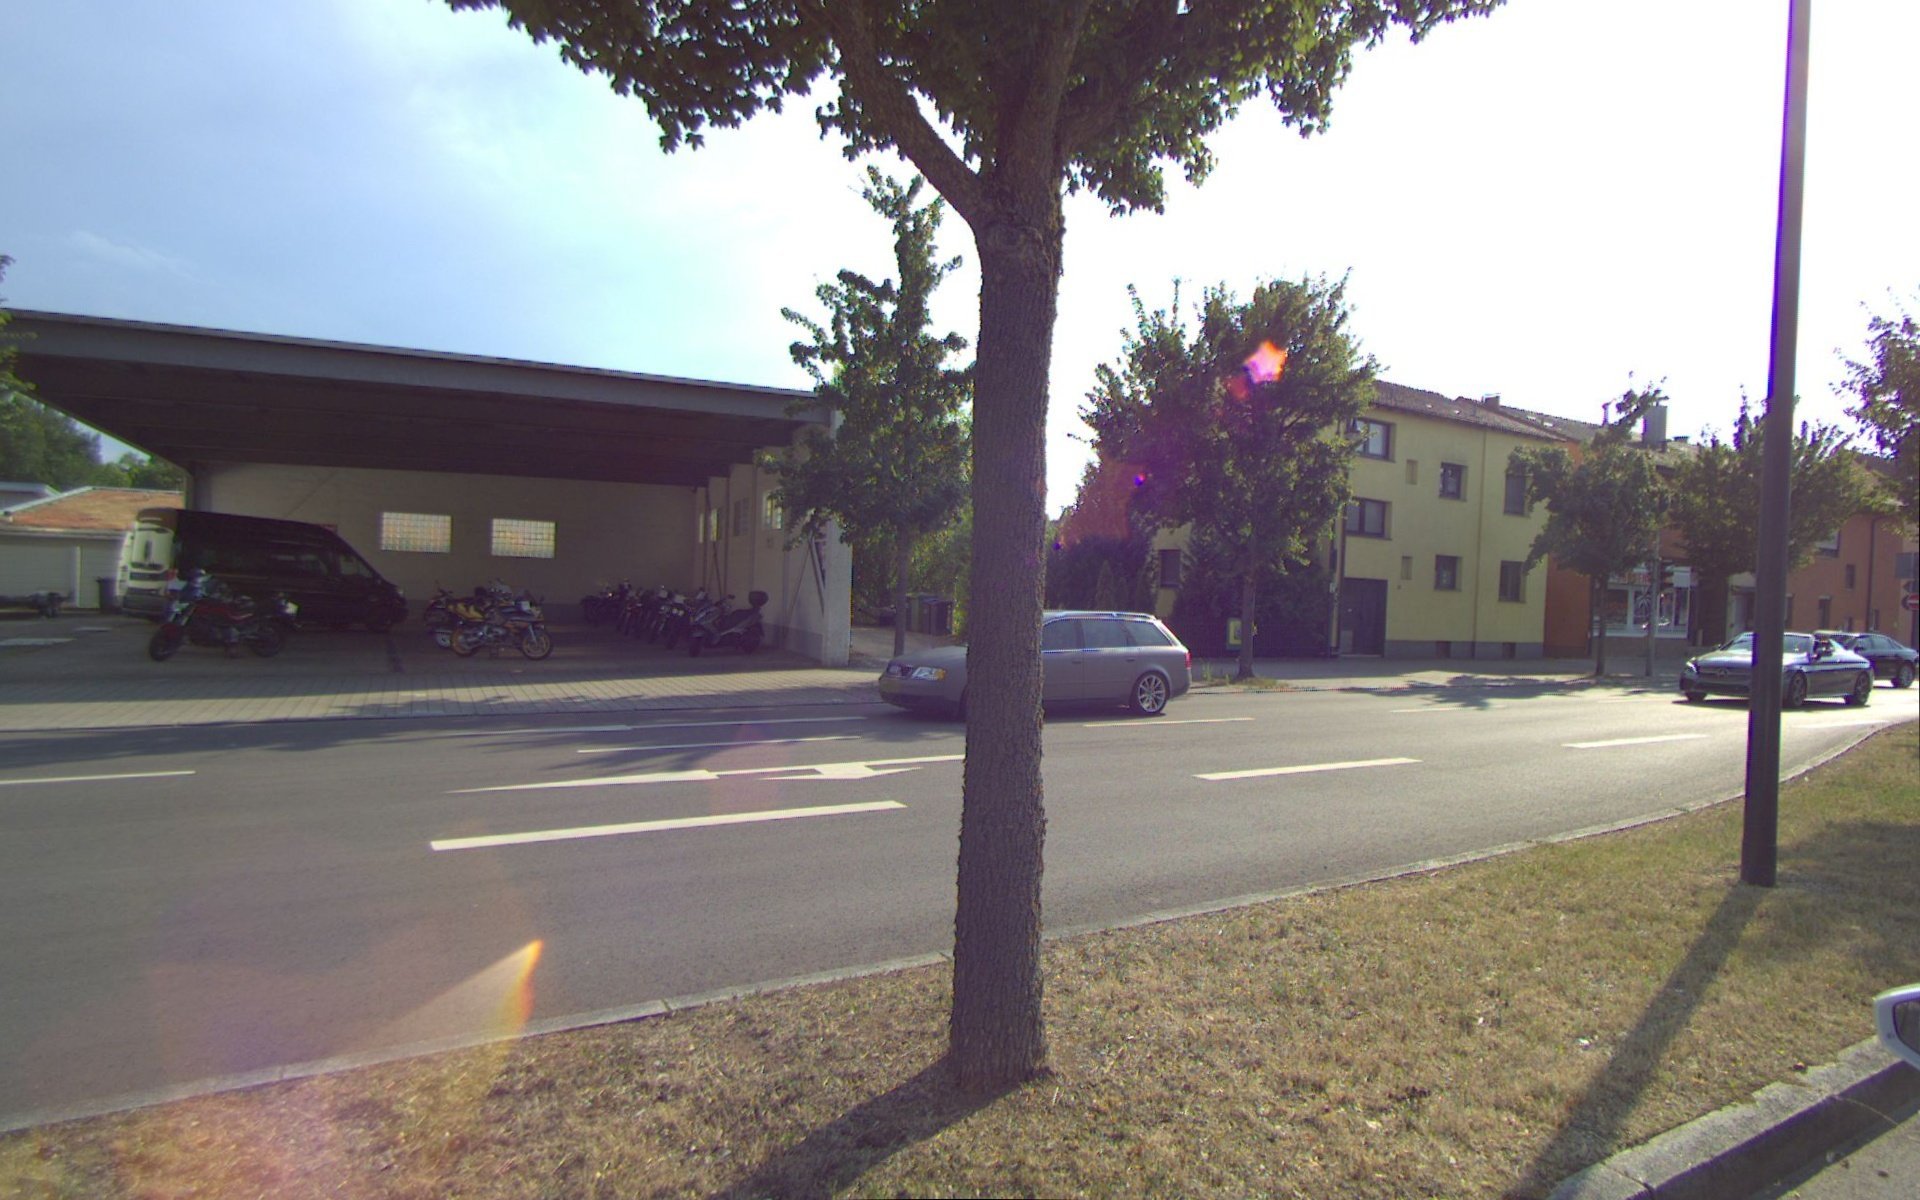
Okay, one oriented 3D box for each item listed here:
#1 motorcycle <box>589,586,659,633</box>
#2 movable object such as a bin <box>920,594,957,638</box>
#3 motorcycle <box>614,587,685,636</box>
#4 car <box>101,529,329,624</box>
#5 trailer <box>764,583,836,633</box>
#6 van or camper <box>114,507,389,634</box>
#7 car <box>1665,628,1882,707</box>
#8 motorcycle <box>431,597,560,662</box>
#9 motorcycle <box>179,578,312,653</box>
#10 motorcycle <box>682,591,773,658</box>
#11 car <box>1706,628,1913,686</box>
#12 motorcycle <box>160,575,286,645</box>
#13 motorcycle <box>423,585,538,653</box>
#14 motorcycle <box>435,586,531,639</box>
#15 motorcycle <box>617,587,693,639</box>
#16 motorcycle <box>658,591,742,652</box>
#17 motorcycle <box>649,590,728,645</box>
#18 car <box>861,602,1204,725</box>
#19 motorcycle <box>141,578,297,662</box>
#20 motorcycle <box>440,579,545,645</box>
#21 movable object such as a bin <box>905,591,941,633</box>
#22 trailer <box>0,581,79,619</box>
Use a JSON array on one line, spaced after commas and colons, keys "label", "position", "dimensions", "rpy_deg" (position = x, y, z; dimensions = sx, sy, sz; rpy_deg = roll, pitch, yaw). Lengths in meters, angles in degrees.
[{"label": "motorcycle", "position": [-9.822, 0.281, 29.445], "dimensions": [0.553, 1.325, 2.086], "rpy_deg": [2, 0, 30]}, {"label": "movable object such as a bin", "position": [-0.592, 0.431, 27.097], "dimensions": [0.688, 1.101, 0.727], "rpy_deg": [1, 3, -30]}, {"label": "motorcycle", "position": [-8.757, 0.316, 28.417], "dimensions": [0.553, 1.325, 2.086], "rpy_deg": [2, 0, 30]}, {"label": "car", "position": [-19.581, -0.575, 26.671], "dimensions": [2.158, 2.279, 4.386], "rpy_deg": [2, 0, 19]}, {"label": "trailer", "position": [-4.319, 0.172, 27.578], "dimensions": [1.692, 1.199, 3.594], "rpy_deg": [2, 1, -5]}, {"label": "van or camper", "position": [-16.764, -0.616, 24.123], "dimensions": [1.963, 2.716, 5.031], "rpy_deg": [2, 0, 28]}, {"label": "car", "position": [16.103, 1.288, 19.847], "dimensions": [4.423, 1.367, 1.773], "rpy_deg": [2, 0, -28]}, {"label": "motorcycle", "position": [-8.725, 0.546, 18.896], "dimensions": [2.111, 1.139, 0.631], "rpy_deg": [2, 0, 0]}, {"label": "motorcycle", "position": [-13.463, 0.287, 19.001], "dimensions": [0.637, 1.329, 2.007], "rpy_deg": [2, 0, 23]}, {"label": "motorcycle", "position": [-4.861, 0.506, 21.173], "dimensions": [0.553, 1.325, 2.112], "rpy_deg": [2, 0, 30]}, {"label": "car", "position": [23.531, 1.565, 27.885], "dimensions": [4.560, 1.440, 1.846], "rpy_deg": [2, 0, -9]}, {"label": "motorcycle", "position": [-14.861, 0.202, 20.324], "dimensions": [0.637, 1.329, 2.007], "rpy_deg": [2, 0, 23]}, {"label": "motorcycle", "position": [-10.028, 0.383, 21.028], "dimensions": [2.111, 1.347, 0.563], "rpy_deg": [2, 0, 0]}, {"label": "motorcycle", "position": [-12.075, 0.314, 25.453], "dimensions": [2.111, 1.275, 0.647], "rpy_deg": [2, 0, 0]}, {"label": "motorcycle", "position": [-8.064, 0.340, 26.643], "dimensions": [0.573, 1.325, 2.086], "rpy_deg": [2, 0, 30]}, {"label": "motorcycle", "position": [-5.941, 0.479, 23.060], "dimensions": [0.553, 1.325, 2.086], "rpy_deg": [2, 0, 30]}, {"label": "motorcycle", "position": [-6.801, 0.442, 25.273], "dimensions": [0.612, 1.325, 2.086], "rpy_deg": [2, 0, 30]}, {"label": "car", "position": [1.086, 0.829, 14.099], "dimensions": [4.655, 1.482, 1.678], "rpy_deg": [2, 0, -30]}, {"label": "motorcycle", "position": [-12.506, 0.334, 17.016], "dimensions": [0.659, 1.329, 2.000], "rpy_deg": [2, 0, 36]}, {"label": "motorcycle", "position": [-10.857, 0.282, 23.359], "dimensions": [2.111, 1.468, 0.594], "rpy_deg": [2, 0, 0]}, {"label": "movable object such as a bin", "position": [-1.032, 0.335, 27.864], "dimensions": [0.712, 1.101, 0.727], "rpy_deg": [1, 3, -30]}, {"label": "trailer", "position": [-25.727, -0.020, 27.113], "dimensions": [2.425, 0.836, 3.163], "rpy_deg": [2, 2, -33]}]
